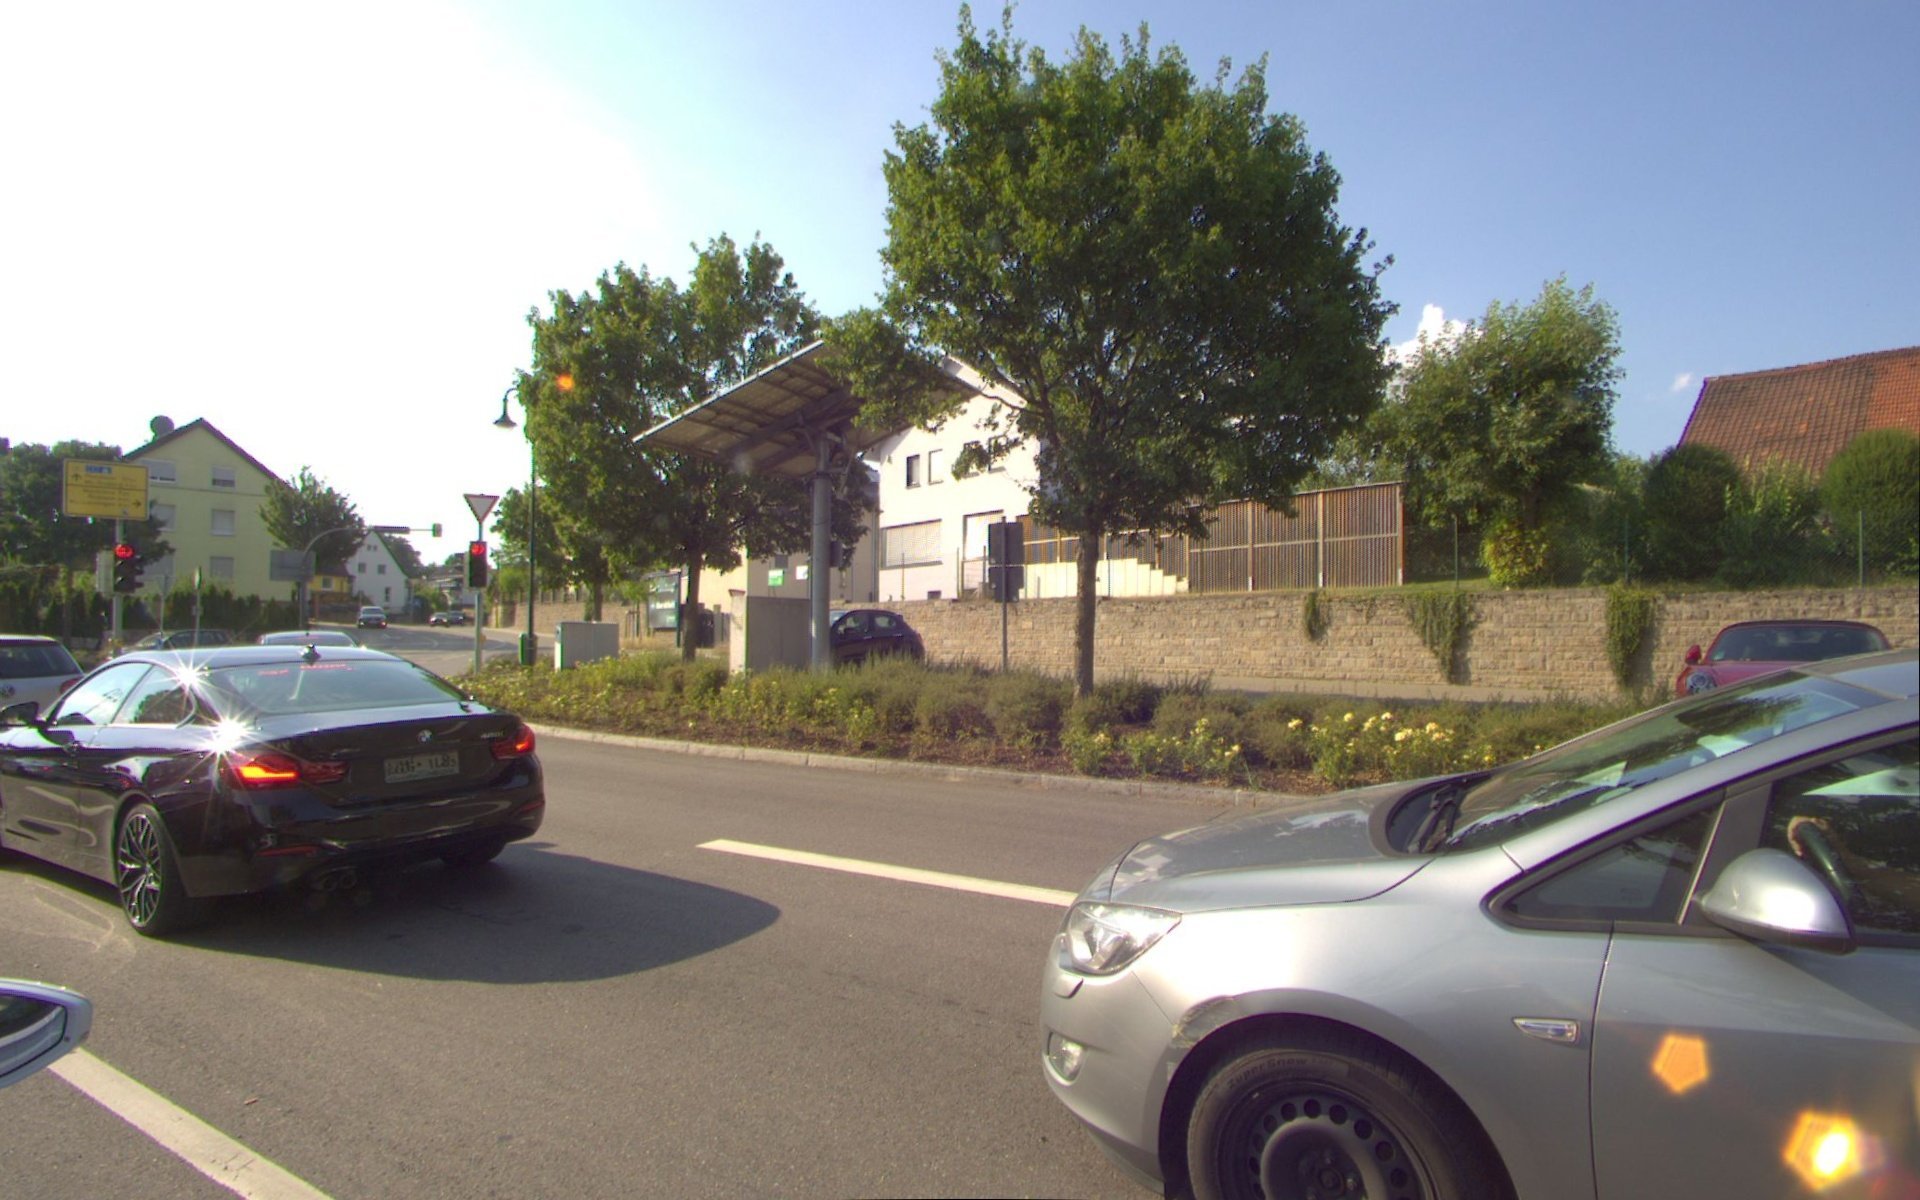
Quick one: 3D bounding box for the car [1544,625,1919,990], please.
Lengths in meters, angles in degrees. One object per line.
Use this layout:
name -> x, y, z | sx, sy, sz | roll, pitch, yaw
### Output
car -> 4.908, 0.847, 4.400 | 4.010, 1.469, 1.726 | -1, -2, 32

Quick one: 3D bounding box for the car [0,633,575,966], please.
car -> -4.502, 0.919, 6.245 | 4.287, 1.406, 1.812 | -1, -2, 34

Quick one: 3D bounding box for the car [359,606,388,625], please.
car -> -41.160, 1.101, 70.274 | 1.692, 1.260, 3.978 | 1, -1, -30

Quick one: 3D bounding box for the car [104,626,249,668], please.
car -> -29.783, 1.756, 38.220 | 1.759, 1.526, 4.065 | 0, -2, 17

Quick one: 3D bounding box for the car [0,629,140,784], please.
car -> -10.730, 1.040, 10.767 | 4.287, 1.465, 1.812 | -1, -2, 34

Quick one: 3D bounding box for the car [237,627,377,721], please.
car -> -11.737, 1.221, 17.855 | 1.667, 1.454, 4.553 | 1, -2, -39

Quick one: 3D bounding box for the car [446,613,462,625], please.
car -> -70.275, 2.679, 139.176 | 1.753, 1.600, 3.987 | 1, -2, -24

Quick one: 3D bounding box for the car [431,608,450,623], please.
car -> -61.091, 1.847, 117.786 | 1.753, 1.600, 3.988 | 1, -2, -23

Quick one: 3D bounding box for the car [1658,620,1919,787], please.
car -> 8.274, 0.867, 9.712 | 1.835, 1.288, 3.964 | -1, -2, 45

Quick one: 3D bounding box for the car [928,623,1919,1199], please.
car -> 2.110, 0.788, 2.215 | 4.107, 1.460, 1.741 | -1, -2, 32

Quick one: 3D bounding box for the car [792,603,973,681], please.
car -> -1.714, 0.959, 23.087 | 1.835, 1.628, 3.964 | -1, -2, 45
